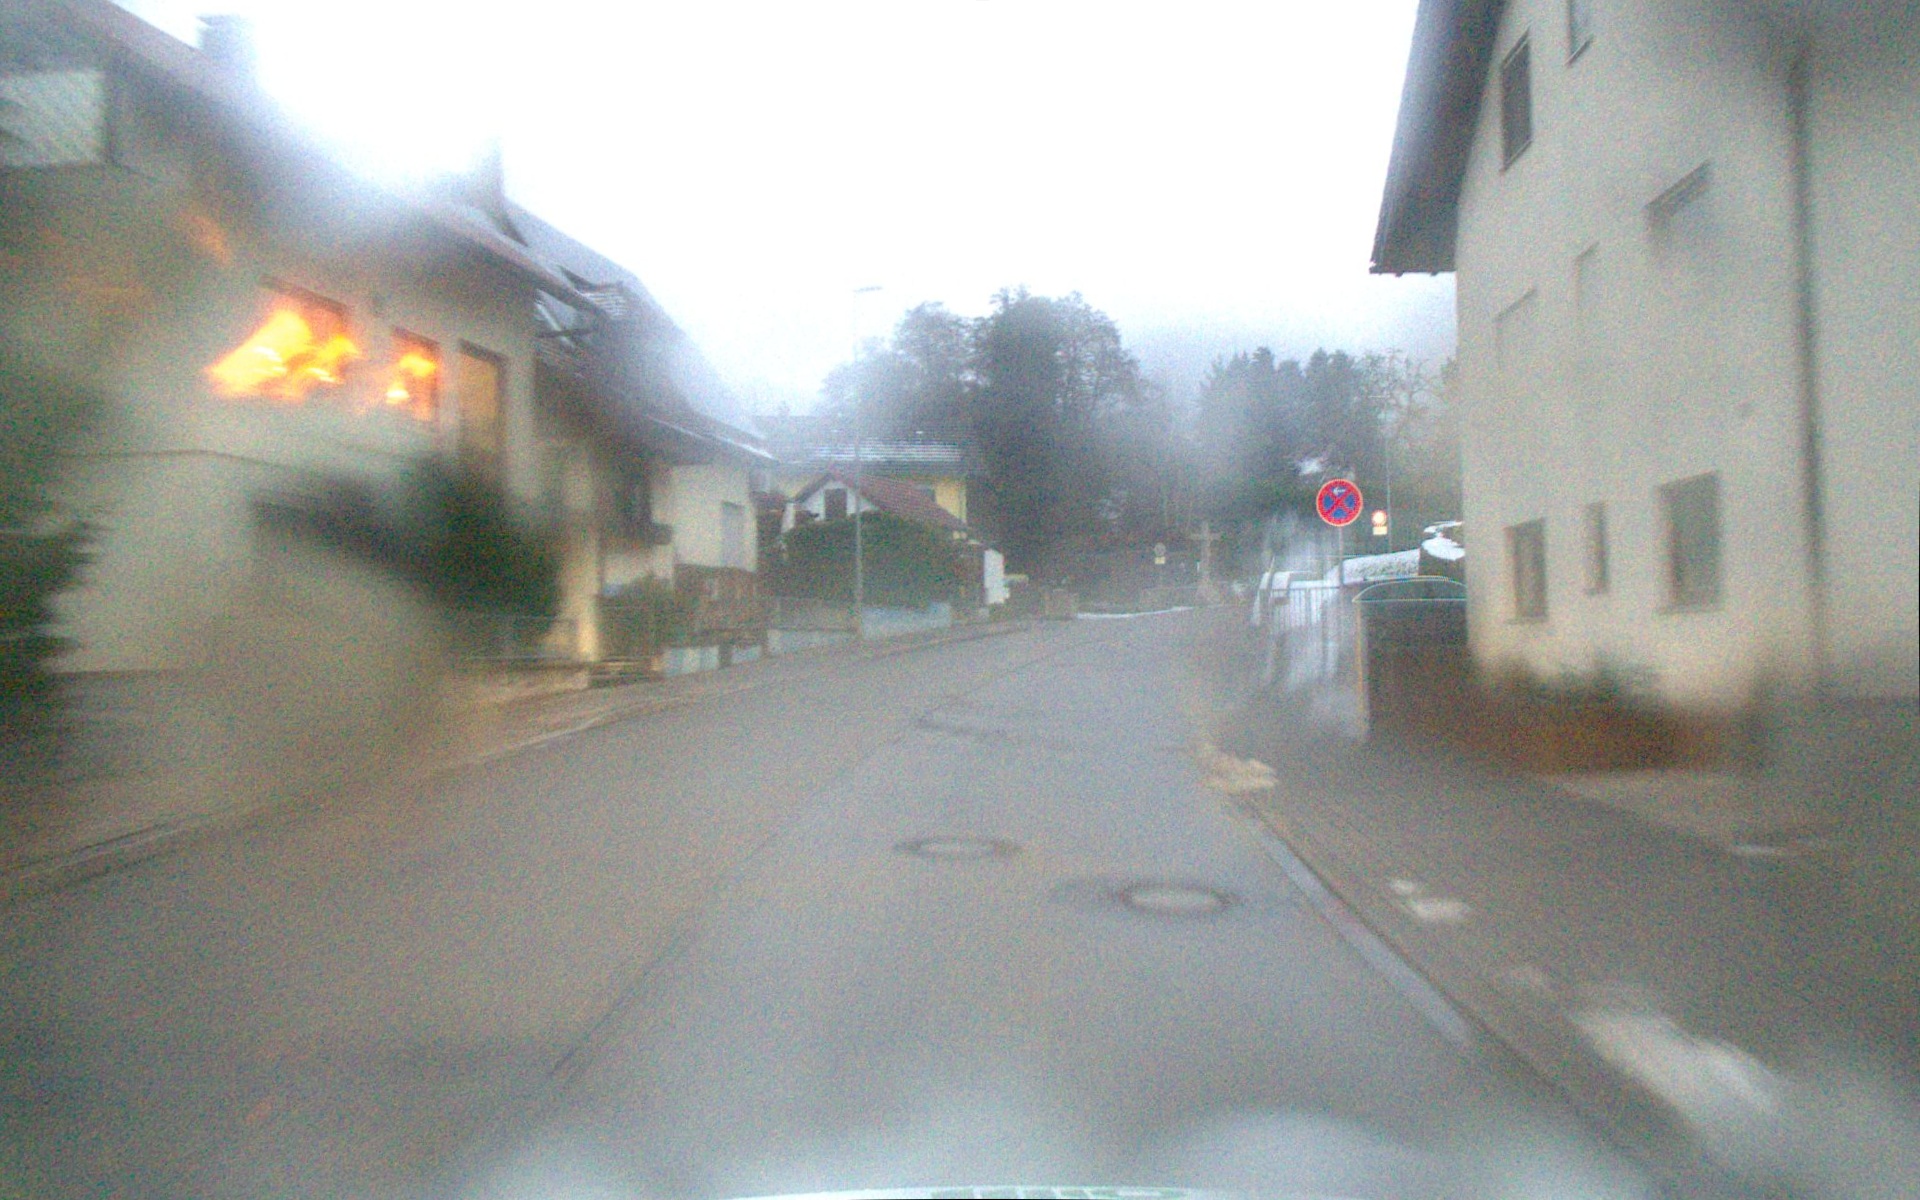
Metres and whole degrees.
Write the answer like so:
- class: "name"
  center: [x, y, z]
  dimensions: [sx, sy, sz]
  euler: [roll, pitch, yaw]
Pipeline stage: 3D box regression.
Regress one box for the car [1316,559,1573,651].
- class: "car"
  center: [9.140, 0.088, 31.541]
  dimensions: [4.409, 1.468, 2.002]
  euler: [-3, 1, 8]
